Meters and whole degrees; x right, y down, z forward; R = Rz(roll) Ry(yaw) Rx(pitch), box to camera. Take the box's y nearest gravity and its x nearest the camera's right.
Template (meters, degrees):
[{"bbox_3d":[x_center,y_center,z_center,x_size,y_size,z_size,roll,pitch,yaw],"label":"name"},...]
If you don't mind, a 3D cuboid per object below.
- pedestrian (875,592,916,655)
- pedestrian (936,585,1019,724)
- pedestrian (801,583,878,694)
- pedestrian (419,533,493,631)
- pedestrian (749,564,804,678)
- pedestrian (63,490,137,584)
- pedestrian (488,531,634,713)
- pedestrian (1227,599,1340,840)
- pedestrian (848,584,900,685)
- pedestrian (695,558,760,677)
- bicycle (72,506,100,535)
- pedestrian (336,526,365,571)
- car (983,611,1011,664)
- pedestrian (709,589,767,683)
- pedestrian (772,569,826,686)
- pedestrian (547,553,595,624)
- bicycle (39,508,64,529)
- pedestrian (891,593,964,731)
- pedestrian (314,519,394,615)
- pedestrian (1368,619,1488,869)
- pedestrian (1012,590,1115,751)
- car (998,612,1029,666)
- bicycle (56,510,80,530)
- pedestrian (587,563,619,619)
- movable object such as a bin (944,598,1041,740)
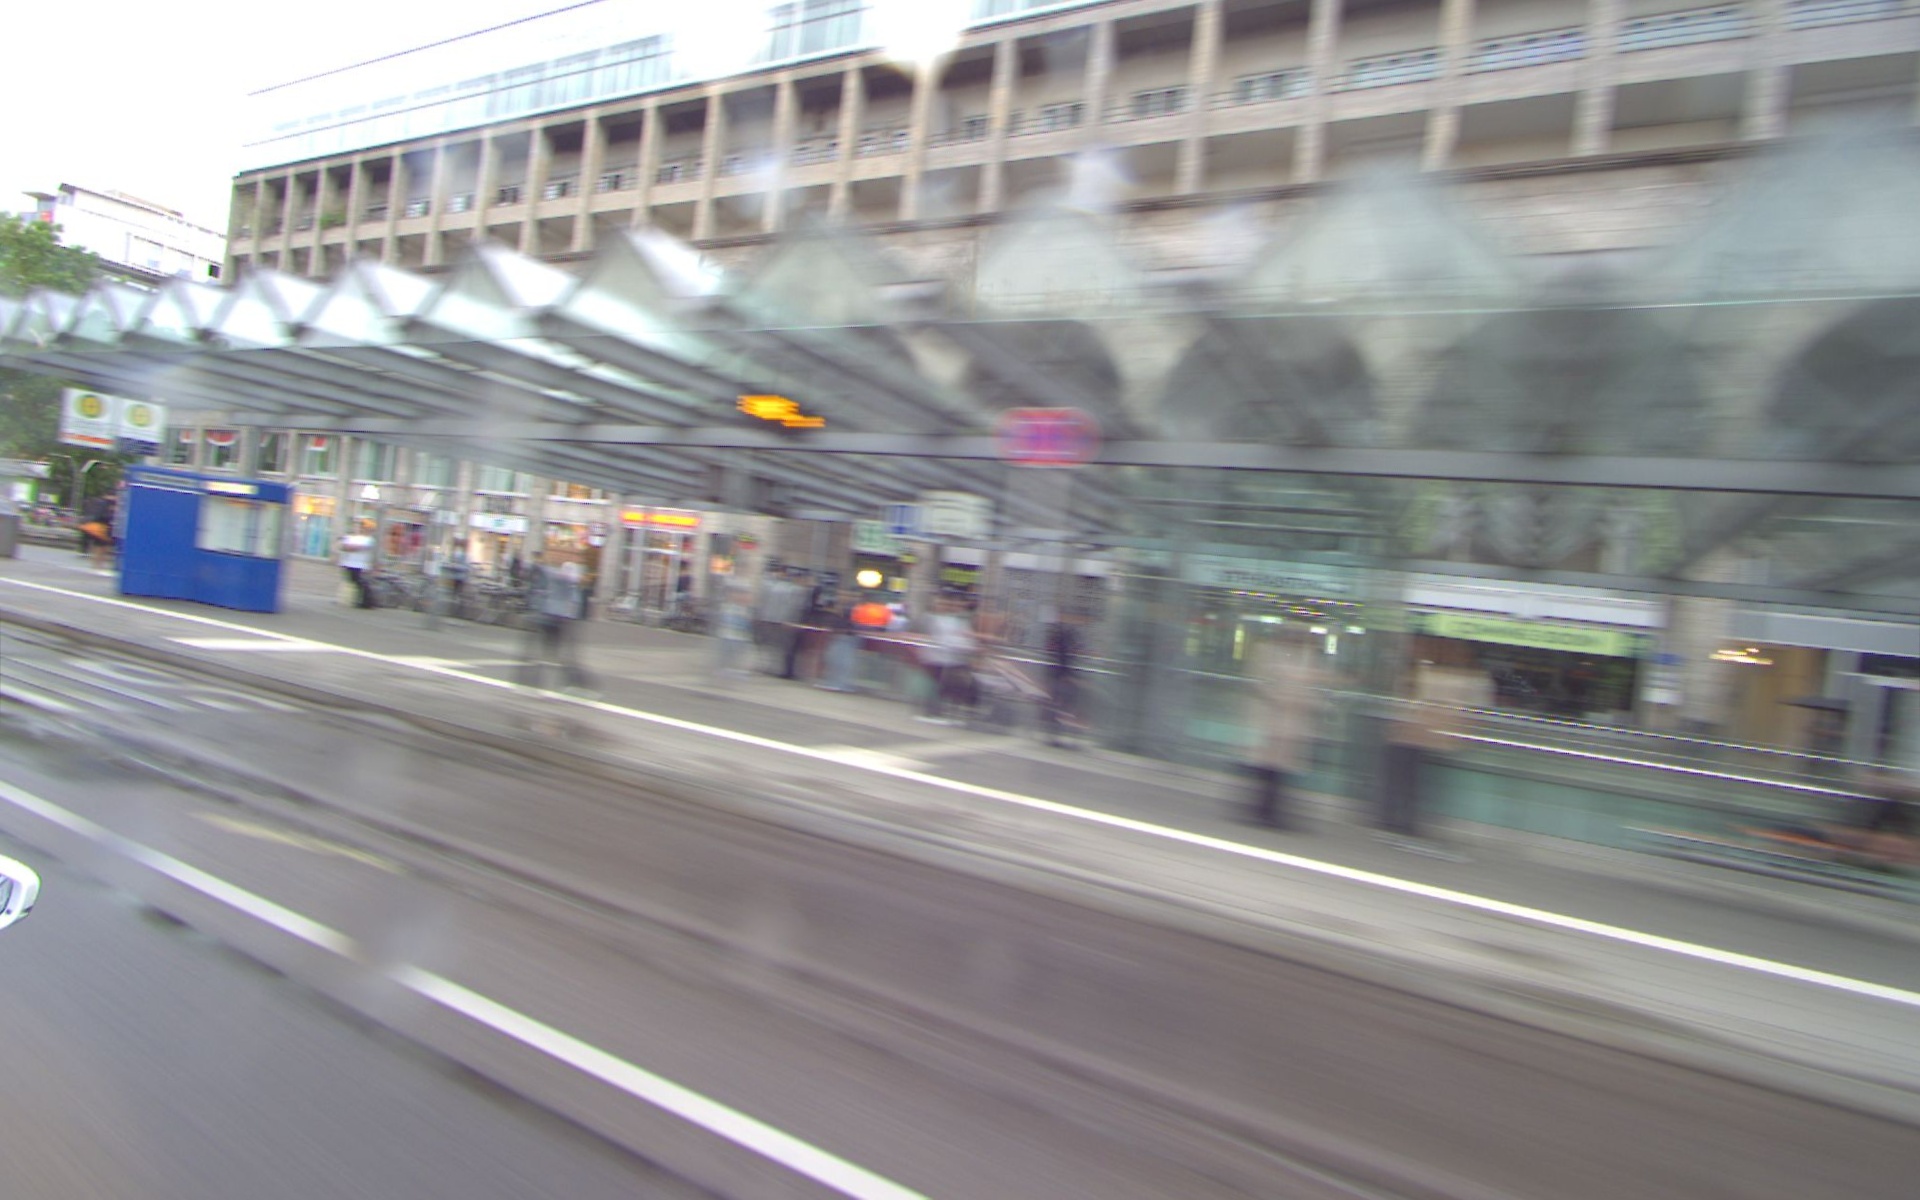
[{"bbox_3d":[-1.883,0.683,29.456,0.740,1.730,0.761,7,0,29],"label":"pedestrian"},{"bbox_3d":[0.259,0.785,14.543,0.748,1.870,0.752,7,0,25],"label":"pedestrian"},{"bbox_3d":[-1.893,0.618,15.899,0.748,1.627,0.752,7,0,24],"label":"pedestrian"},{"bbox_3d":[-9.589,-0.337,19.142,0.887,1.715,0.749,7,0,32],"label":"pedestrian"},{"bbox_3d":[-3.201,0.356,17.542,0.590,1.897,0.587,7,0,-27],"label":"pedestrian"},{"bbox_3d":[-18.413,-1.348,21.547,0.824,1.859,0.982,7,0,44],"label":"pedestrian"},{"bbox_3d":[-4.134,0.229,10.477,0.980,1.710,0.762,7,0,8],"label":"pedestrian"},{"bbox_3d":[2.701,0.971,8.374,0.564,1.859,0.677,7,0,30],"label":"pedestrian"},{"bbox_3d":[-1.666,0.673,19.650,0.739,1.853,0.762,7,0,0],"label":"pedestrian"},{"bbox_3d":[-3.879,0.296,16.769,0.616,1.882,0.607,7,0,38],"label":"pedestrian"},{"bbox_3d":[-54.927,-5.013,63.214,2.098,1.581,0.793,7,0,36],"label":"bicycle"},{"bbox_3d":[-26.389,-2.234,43.525,0.776,1.814,0.653,7,0,33],"label":"pedestrian"},{"bbox_3d":[1.148,1.145,30.854,0.464,1.557,0.590,6,-1,31],"label":"car"},{"bbox_3d":[-3.461,0.565,15.722,0.499,1.394,0.553,7,0,24],"label":"pedestrian"},{"bbox_3d":[-2.663,0.457,16.664,0.582,1.853,0.607,7,0,0],"label":"pedestrian"},{"bbox_3d":[-10.214,-0.291,26.426,0.974,1.715,0.853,7,0,-21],"label":"pedestrian"},{"bbox_3d":[-53.247,-4.794,58.954,1.965,1.069,0.615,7,2,36],"label":"bicycle"},{"bbox_3d":[-0.412,0.797,13.134,0.667,1.674,0.762,7,0,5],"label":"pedestrian"},{"bbox_3d":[-12.470,-0.664,20.730,0.974,1.827,0.789,6,0,0],"label":"pedestrian"},{"bbox_3d":[3.784,1.128,8.122,0.631,1.859,0.628,7,0,31],"label":"pedestrian"},{"bbox_3d":[1.263,0.862,12.305,0.752,1.859,0.748,7,0,44],"label":"pedestrian"},{"bbox_3d":[1.608,1.181,30.315,0.558,1.557,0.590,6,-1,31],"label":"car"},{"bbox_3d":[-52.874,-4.748,59.602,1.965,1.039,0.615,7,2,36],"label":"bicycle"},{"bbox_3d":[-12.419,-0.323,34.958,0.779,1.815,0.986,6,0,-25],"label":"pedestrian"},{"bbox_3d":[0.430,0.881,13.011,1.029,1.672,0.665,7,0,6],"label":"movable object such as a bin"}]
